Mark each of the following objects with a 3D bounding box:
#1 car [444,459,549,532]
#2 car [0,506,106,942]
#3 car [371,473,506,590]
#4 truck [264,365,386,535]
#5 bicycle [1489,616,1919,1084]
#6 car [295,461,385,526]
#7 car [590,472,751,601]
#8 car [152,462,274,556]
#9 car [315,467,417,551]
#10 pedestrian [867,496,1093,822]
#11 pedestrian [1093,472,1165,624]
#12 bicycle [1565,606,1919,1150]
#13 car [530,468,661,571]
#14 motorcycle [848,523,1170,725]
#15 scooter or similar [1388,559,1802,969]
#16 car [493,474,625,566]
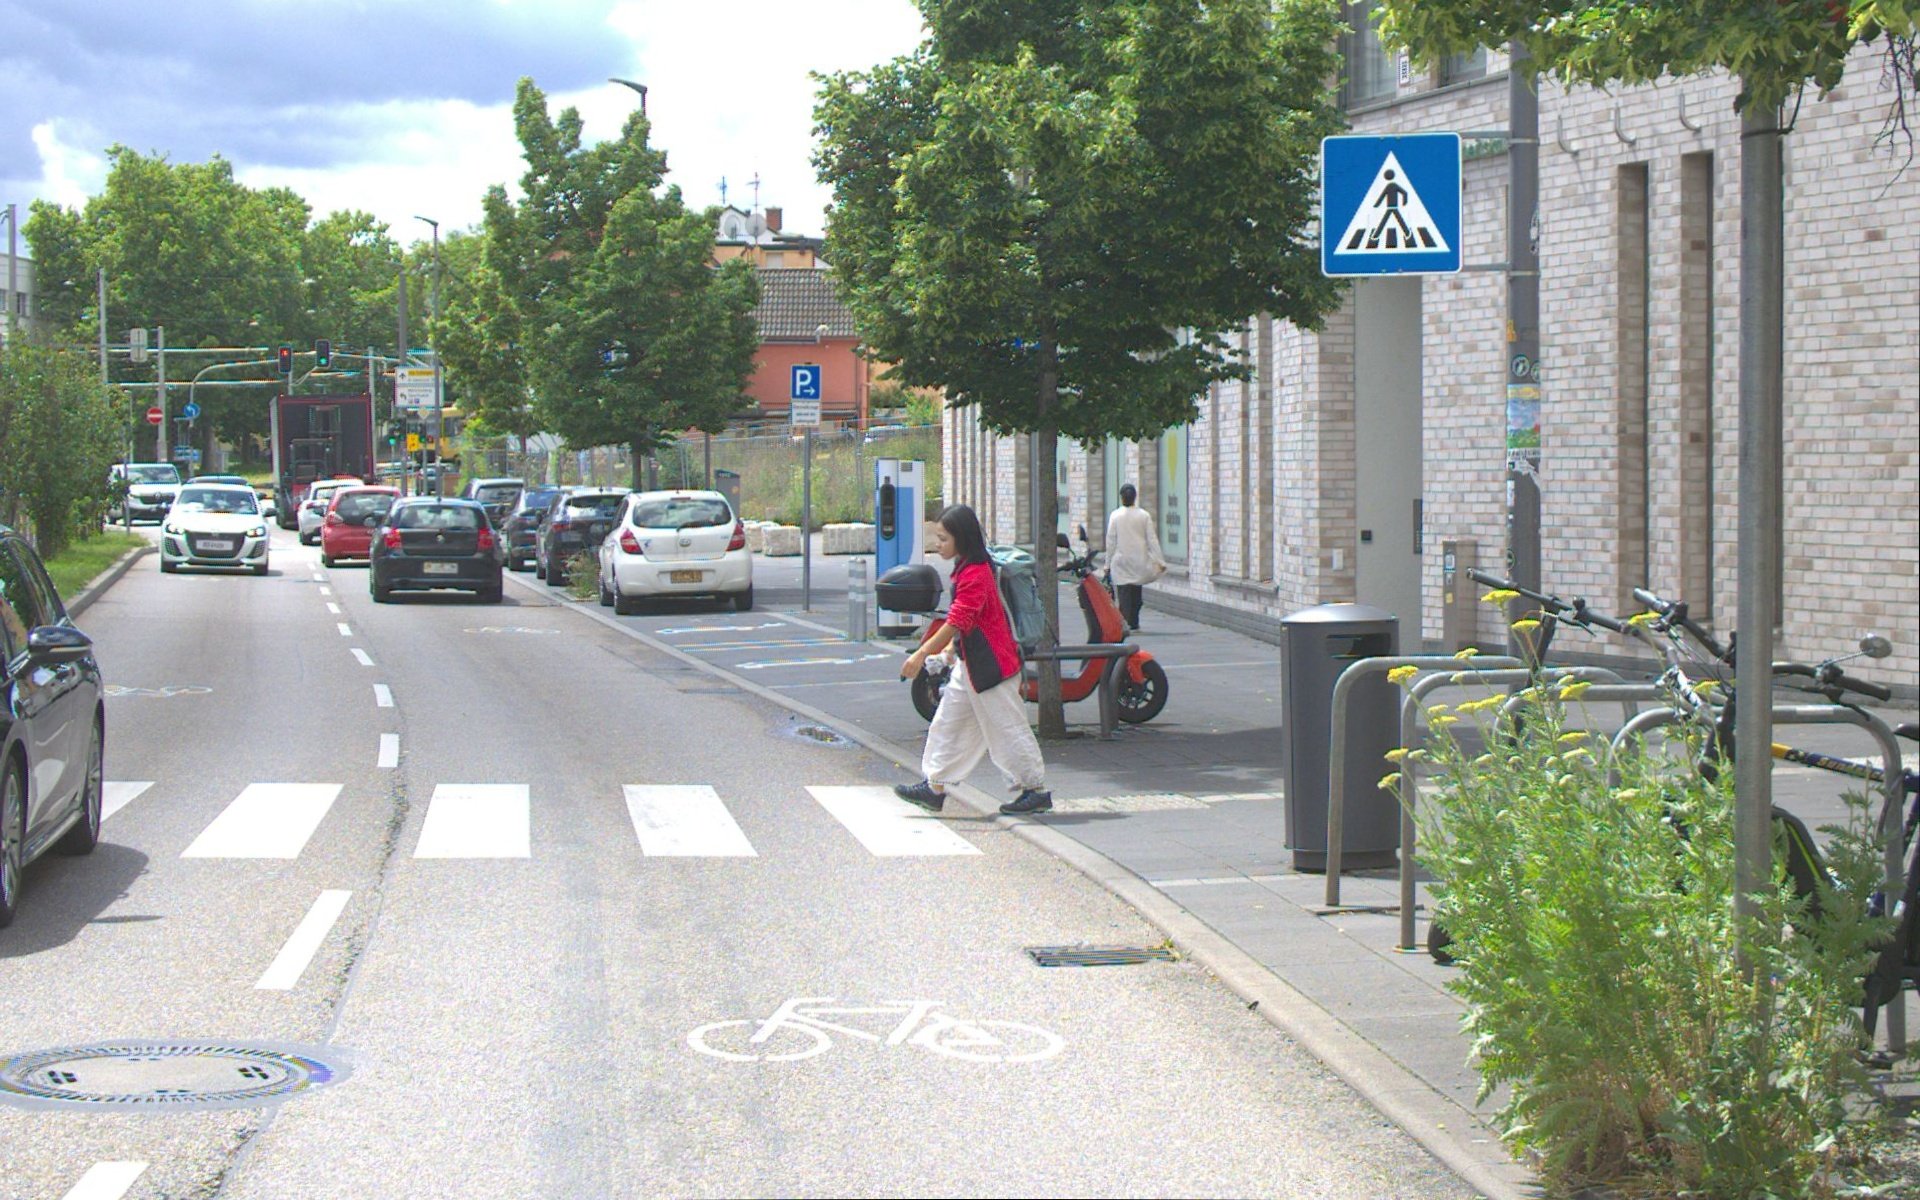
[{"bbox_3d":[-9.947,-2.251,73.538,1.781,1.446,4.478,-2,3,-13],"label":"car"},{"bbox_3d":[-4.337,0.382,12.902,1.772,1.459,4.236,1,2,-8],"label":"car"},{"bbox_3d":[-7.107,-0.965,46.848,1.726,1.451,3.810,-1,3,-9],"label":"car"},{"bbox_3d":[-17.952,-4.123,97.130,3.202,4.520,9.031,1,1,-11],"label":"truck"},{"bbox_3d":[2.390,0.623,9.071,1.822,1.127,0.756,-1,1,-4],"label":"bicycle"},{"bbox_3d":[-14.665,-2.512,81.176,1.887,1.460,4.071,-1,2,-13],"label":"car"},{"bbox_3d":[-3.696,-0.839,43.405,1.692,1.478,3.799,-2,3,-9],"label":"car"},{"bbox_3d":[-12.233,-1.516,56.476,1.811,1.464,3.909,1,2,-10],"label":"car"},{"bbox_3d":[-10.762,-1.668,62.159,1.711,1.388,3.810,-1,3,-11],"label":"car"},{"bbox_3d":[0.091,0.286,16.957,0.927,1.560,0.815,1,0,-13],"label":"pedestrian"},{"bbox_3d":[1.671,-0.522,34.129,0.607,1.467,0.791,-1,3,-3],"label":"pedestrian"},{"bbox_3d":[2.451,0.622,8.242,1.822,1.196,0.756,-1,1,-4],"label":"bicycle"},{"bbox_3d":[-5.608,-1.262,52.563,1.692,1.456,4.148,-2,3,-10],"label":"car"},{"bbox_3d":[0.337,0.153,22.901,2.051,1.261,0.672,-2,1,7],"label":"motorcycle"},{"bbox_3d":[2.016,0.508,10.977,1.196,1.245,0.494,-1,1,-4],"label":"scooter or similar"},{"bbox_3d":[-6.926,-1.406,59.098,1.864,1.446,4.645,-2,3,-11],"label":"car"}]
